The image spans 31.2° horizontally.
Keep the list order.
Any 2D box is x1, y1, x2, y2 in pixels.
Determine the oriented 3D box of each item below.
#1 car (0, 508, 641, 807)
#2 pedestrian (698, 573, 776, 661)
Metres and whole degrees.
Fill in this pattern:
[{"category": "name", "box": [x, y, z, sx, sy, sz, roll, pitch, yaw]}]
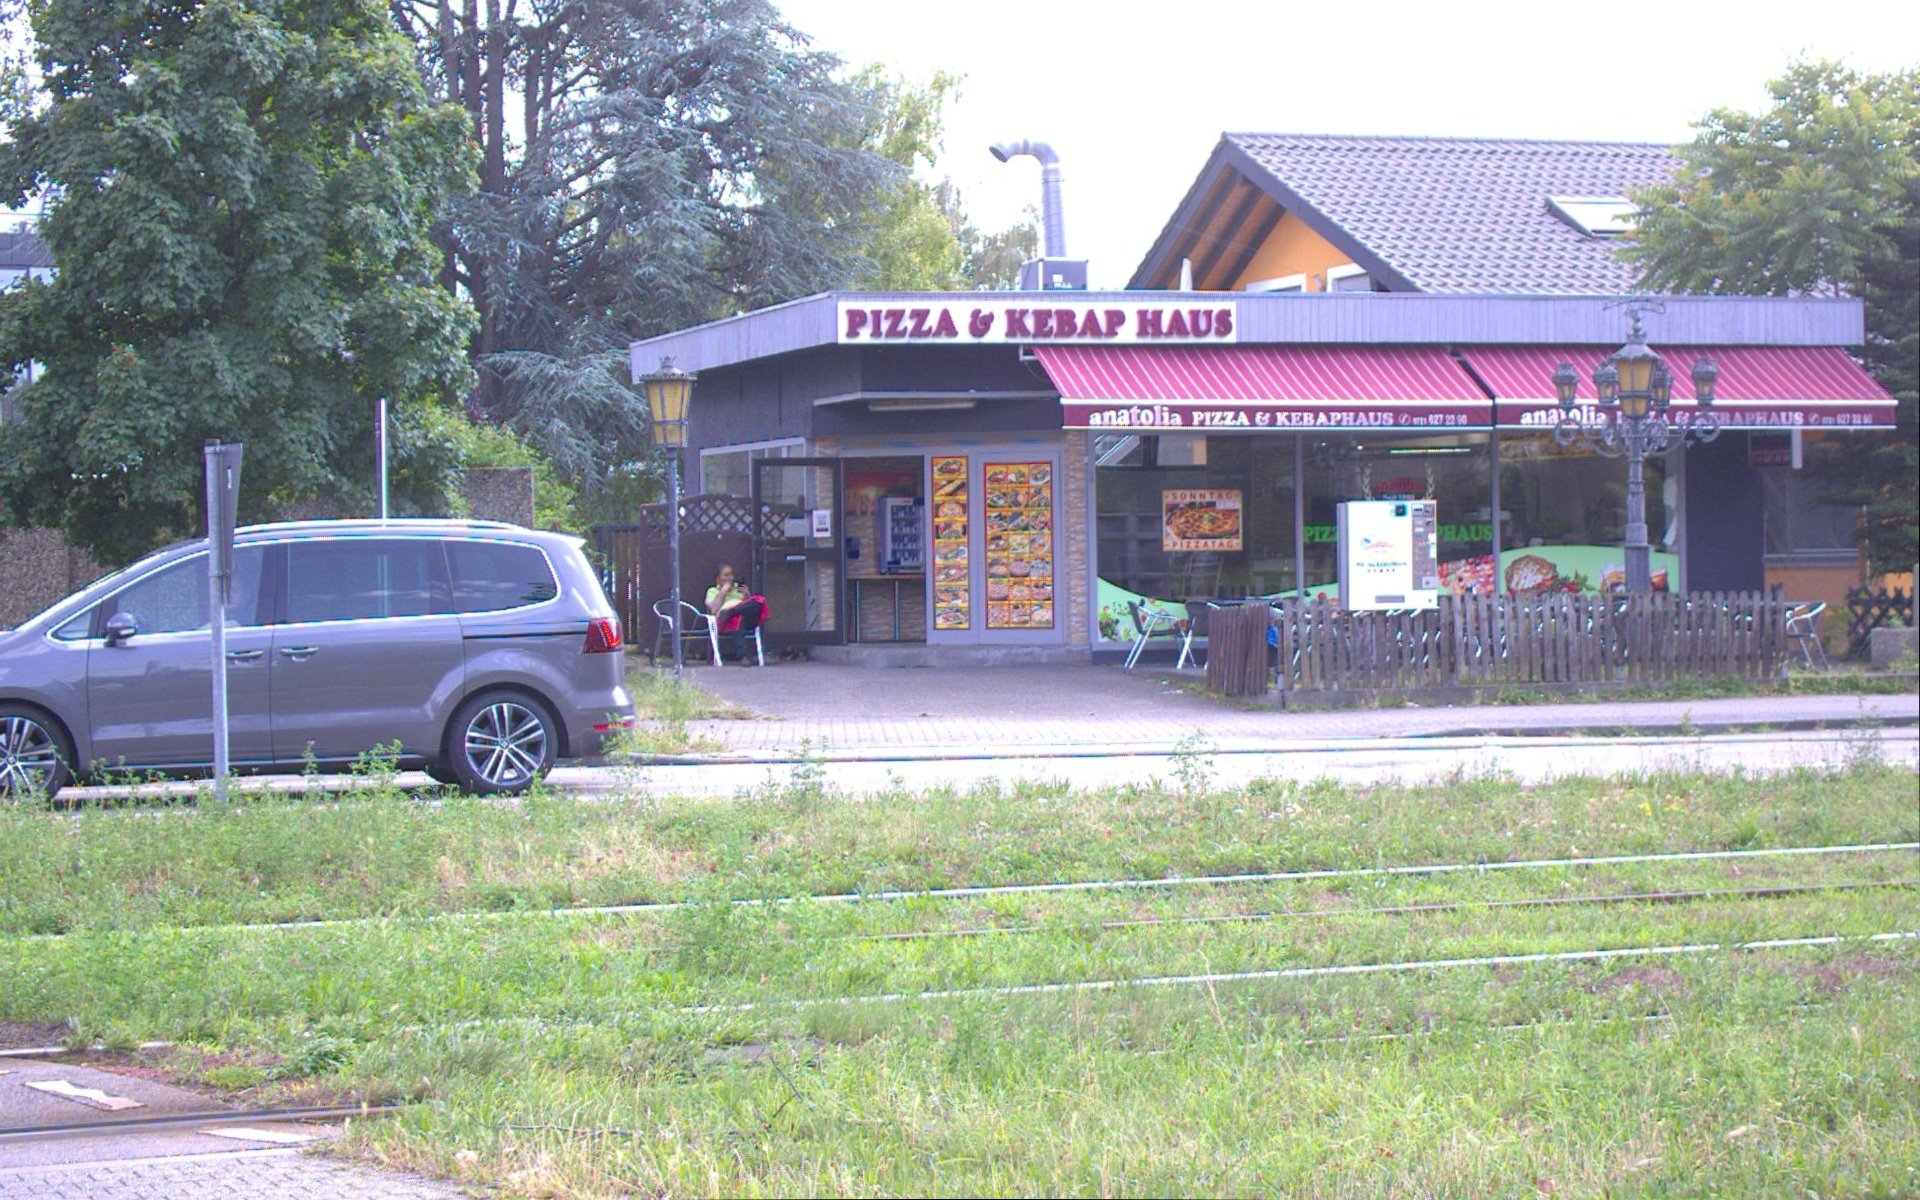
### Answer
[{"category": "car", "box": [-4.526, 0.315, 21.390, 4.723, 1.716, 2.001, -1, 1, -17]}, {"category": "pedestrian", "box": [-2.433, 0.180, 37.514, 0.724, 0.926, 0.777, 0, 2, -13]}]
